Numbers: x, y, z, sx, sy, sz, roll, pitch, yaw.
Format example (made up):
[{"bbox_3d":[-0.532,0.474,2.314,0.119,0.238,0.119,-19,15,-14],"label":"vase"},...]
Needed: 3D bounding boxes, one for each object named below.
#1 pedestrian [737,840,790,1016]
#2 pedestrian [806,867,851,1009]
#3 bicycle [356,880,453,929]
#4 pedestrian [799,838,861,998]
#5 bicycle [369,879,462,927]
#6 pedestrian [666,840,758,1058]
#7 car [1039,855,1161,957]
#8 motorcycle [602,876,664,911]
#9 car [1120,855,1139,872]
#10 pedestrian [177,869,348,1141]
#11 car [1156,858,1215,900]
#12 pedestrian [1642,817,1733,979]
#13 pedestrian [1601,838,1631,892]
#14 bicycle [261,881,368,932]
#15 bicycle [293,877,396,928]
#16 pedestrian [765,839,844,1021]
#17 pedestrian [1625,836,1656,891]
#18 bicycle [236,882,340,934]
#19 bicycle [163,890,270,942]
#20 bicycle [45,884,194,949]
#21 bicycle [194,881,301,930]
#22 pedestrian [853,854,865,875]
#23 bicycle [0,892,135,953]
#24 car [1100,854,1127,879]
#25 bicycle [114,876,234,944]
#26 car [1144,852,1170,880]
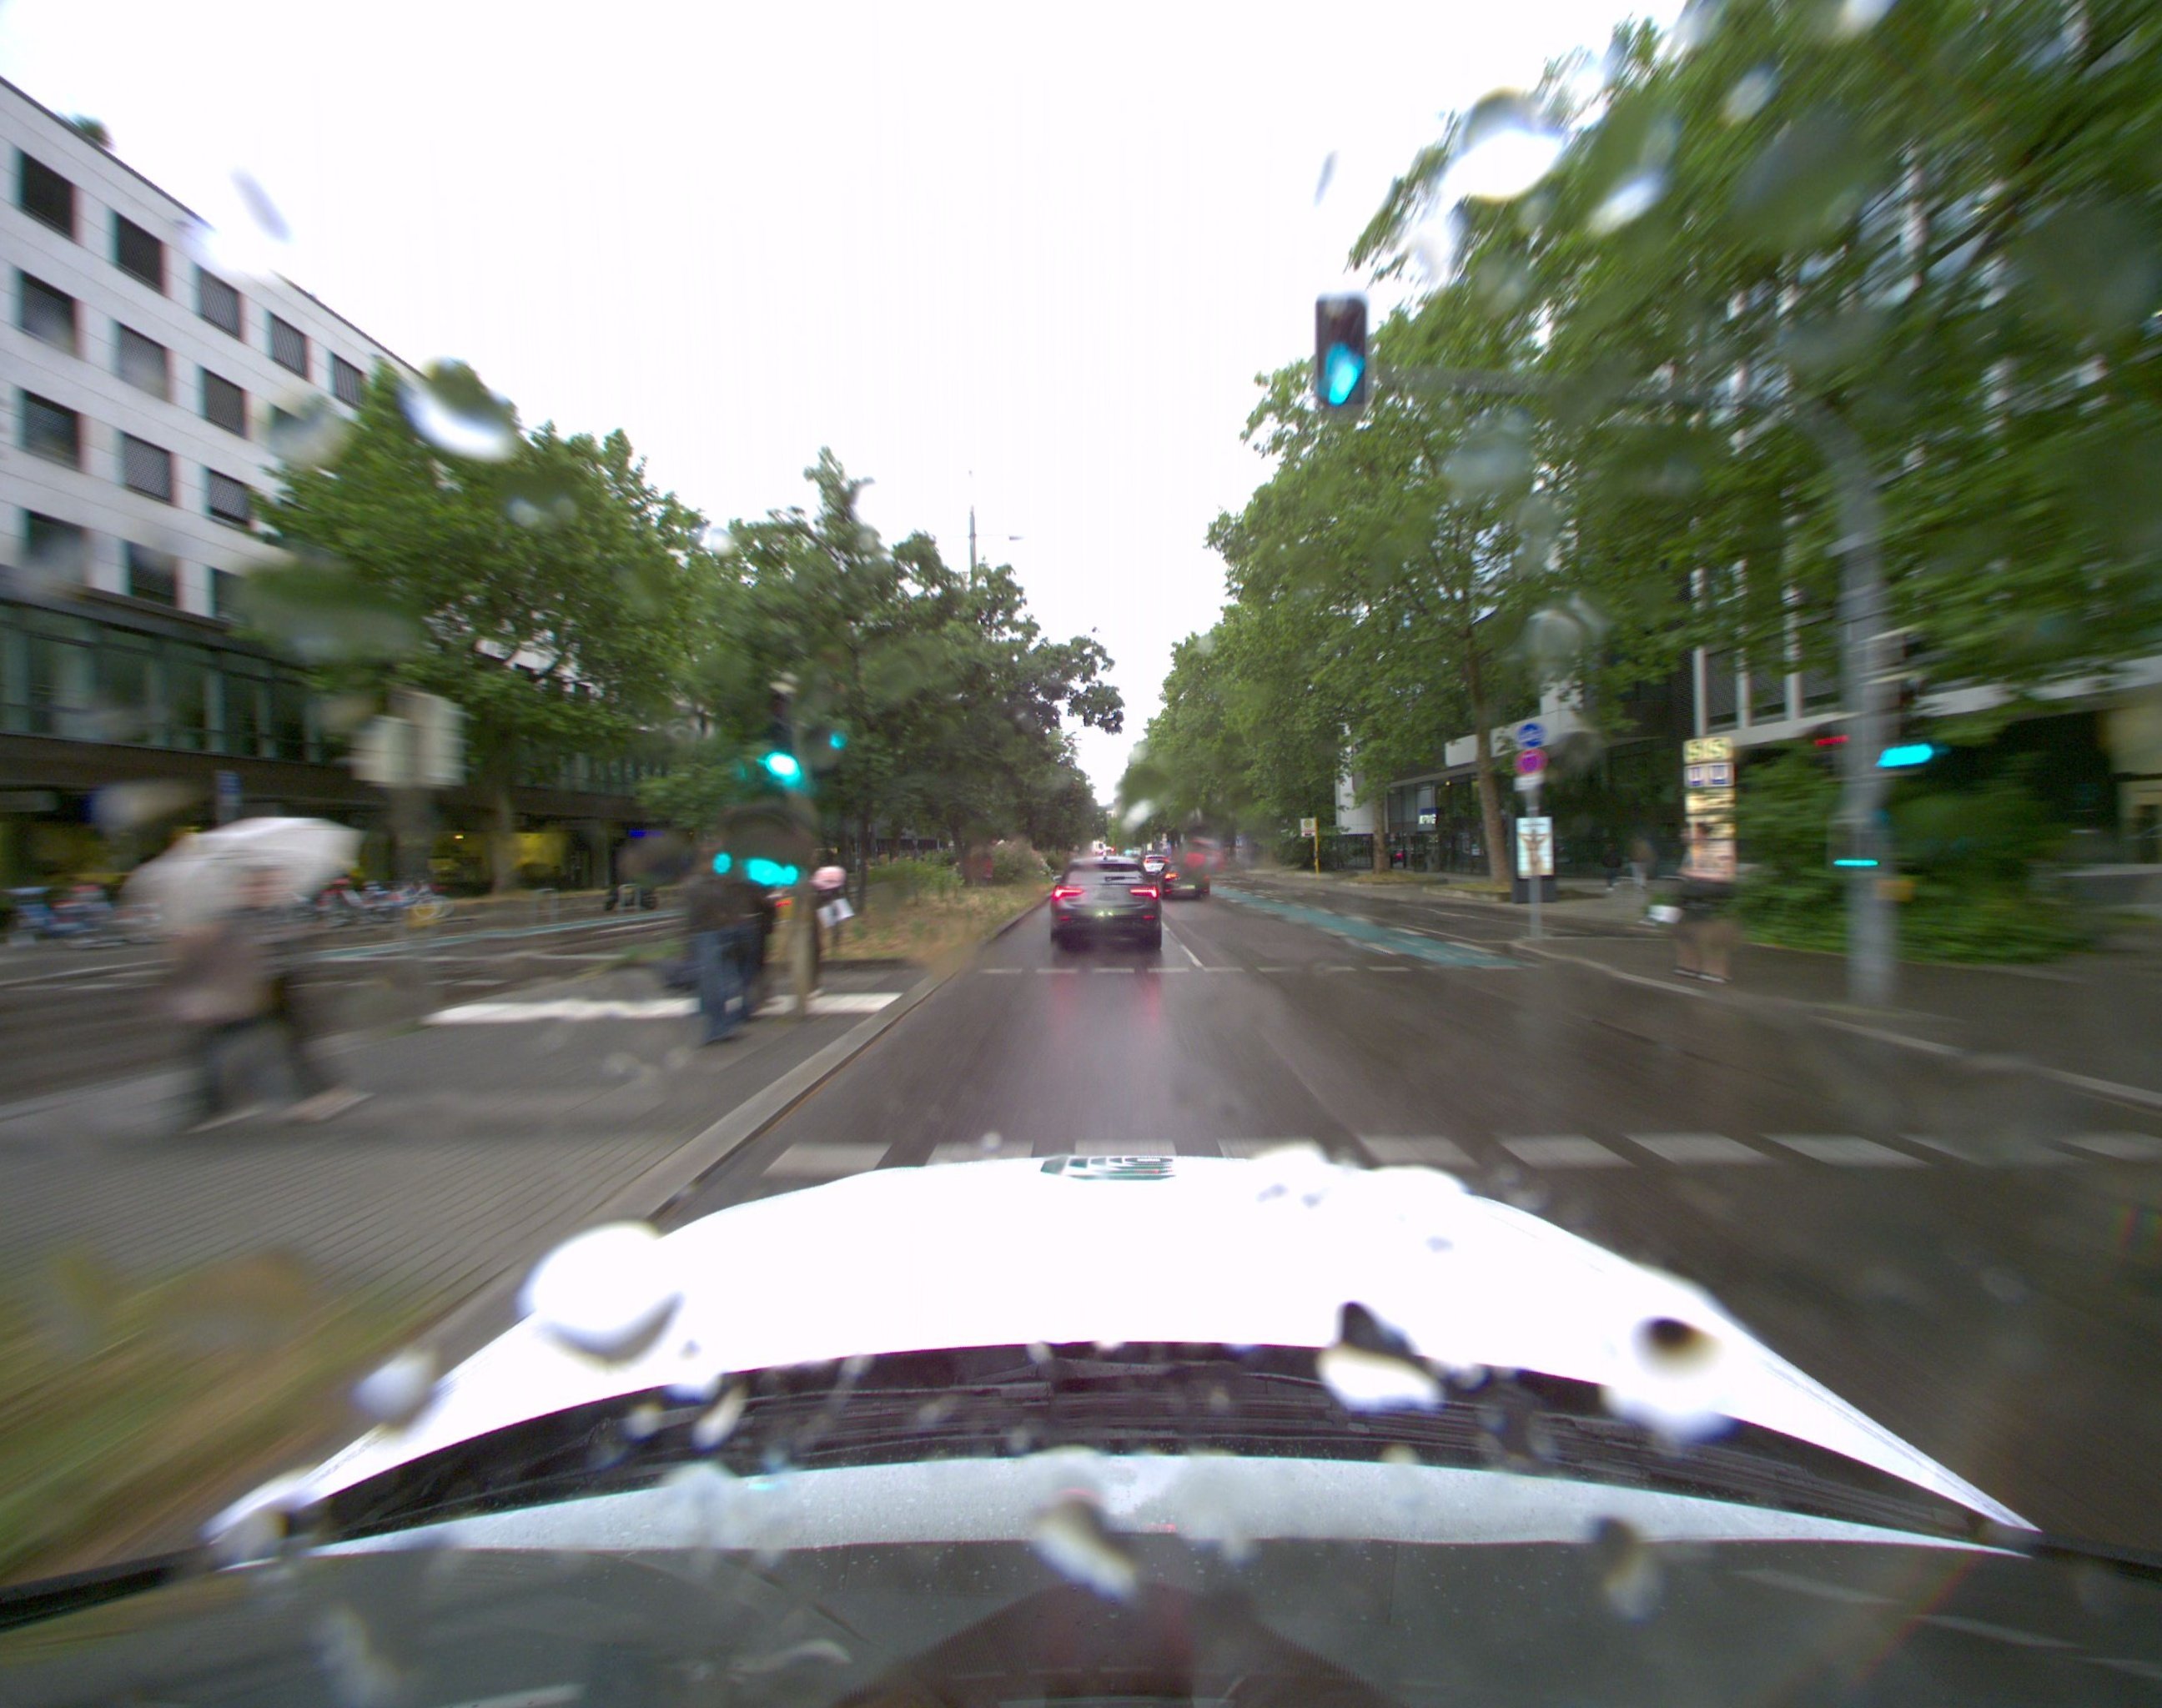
[{"bbox_3d":[-3.197,0.727,8.218,0.398,1.720,0.324,-1,-1,-9],"label":"pedestrian"},{"bbox_3d":[-2.676,0.870,8.652,0.424,1.450,0.383,-1,-1,-17],"label":"pedestrian"},{"bbox_3d":[-17.114,1.268,20.632,1.841,1.136,0.565,-2,0,-6],"label":"bicycle"},{"bbox_3d":[-2.749,0.687,8.948,0.573,1.698,0.403,-1,-1,-11],"label":"pedestrian"},{"bbox_3d":[-17.345,1.259,21.263,1.841,1.149,0.565,-2,0,-6],"label":"bicycle"},{"bbox_3d":[-2.956,0.721,6.567,0.613,1.642,0.601,-1,-1,-21],"label":"pedestrian"},{"bbox_3d":[0.405,0.814,14.883,1.855,1.532,4.530,-1,0,3],"label":"car"},{"bbox_3d":[-14.960,1.312,27.222,1.784,1.085,0.491,0,-1,-29],"label":"motorcycle"},{"bbox_3d":[5.353,1.073,90.387,1.986,1.750,4.002,-2,0,2],"label":"car"},{"bbox_3d":[-4.832,0.843,4.827,0.478,1.489,0.547,-1,-1,20],"label":"pedestrian"},{"bbox_3d":[3.893,0.889,30.996,1.759,1.413,4.001,-2,0,1],"label":"car"},{"bbox_3d":[7.127,0.503,9.585,0.605,1.831,0.563,-1,-1,-8],"label":"pedestrian"},{"bbox_3d":[18.079,0.360,27.516,0.561,1.794,0.607,-1,-1,-2],"label":"pedestrian"},{"bbox_3d":[-17.907,1.209,19.062,1.819,1.097,0.565,-1,0,-7],"label":"bicycle"},{"bbox_3d":[-17.895,1.170,19.806,1.842,1.136,0.565,-1,0,-7],"label":"bicycle"},{"bbox_3d":[-2.599,0.692,7.692,0.629,1.643,0.443,-1,-1,-13],"label":"pedestrian"},{"bbox_3d":[18.966,0.315,27.613,0.561,1.855,0.607,-1,-1,-2],"label":"pedestrian"},{"bbox_3d":[-17.848,1.199,18.353,1.667,1.091,0.565,-1,0,-7],"label":"bicycle"},{"bbox_3d":[-17.743,1.268,16.737,1.461,0.979,0.564,-1,0,-7],"label":"bicycle"},{"bbox_3d":[-17.907,1.154,15.202,1.842,1.098,0.613,-1,0,-7],"label":"bicycle"},{"bbox_3d":[-17.766,1.098,17.388,1.616,0.962,0.508,-1,0,-7],"label":"bicycle"},{"bbox_3d":[-21.576,1.040,79.140,0.877,2.014,0.636,-1,-1,1],"label":"pedestrian"},{"bbox_3d":[-17.921,1.191,14.318,1.839,0.979,0.565,-1,0,-2],"label":"bicycle"},{"bbox_3d":[2.131,0.801,54.771,1.715,1.577,3.963,-1,0,1],"label":"car"},{"bbox_3d":[-17.750,1.079,15.960,1.616,1.241,0.508,-1,0,-7],"label":"bicycle"},{"bbox_3d":[4.795,0.745,51.448,1.428,1.685,2.980,-2,0,2],"label":"car"}]
